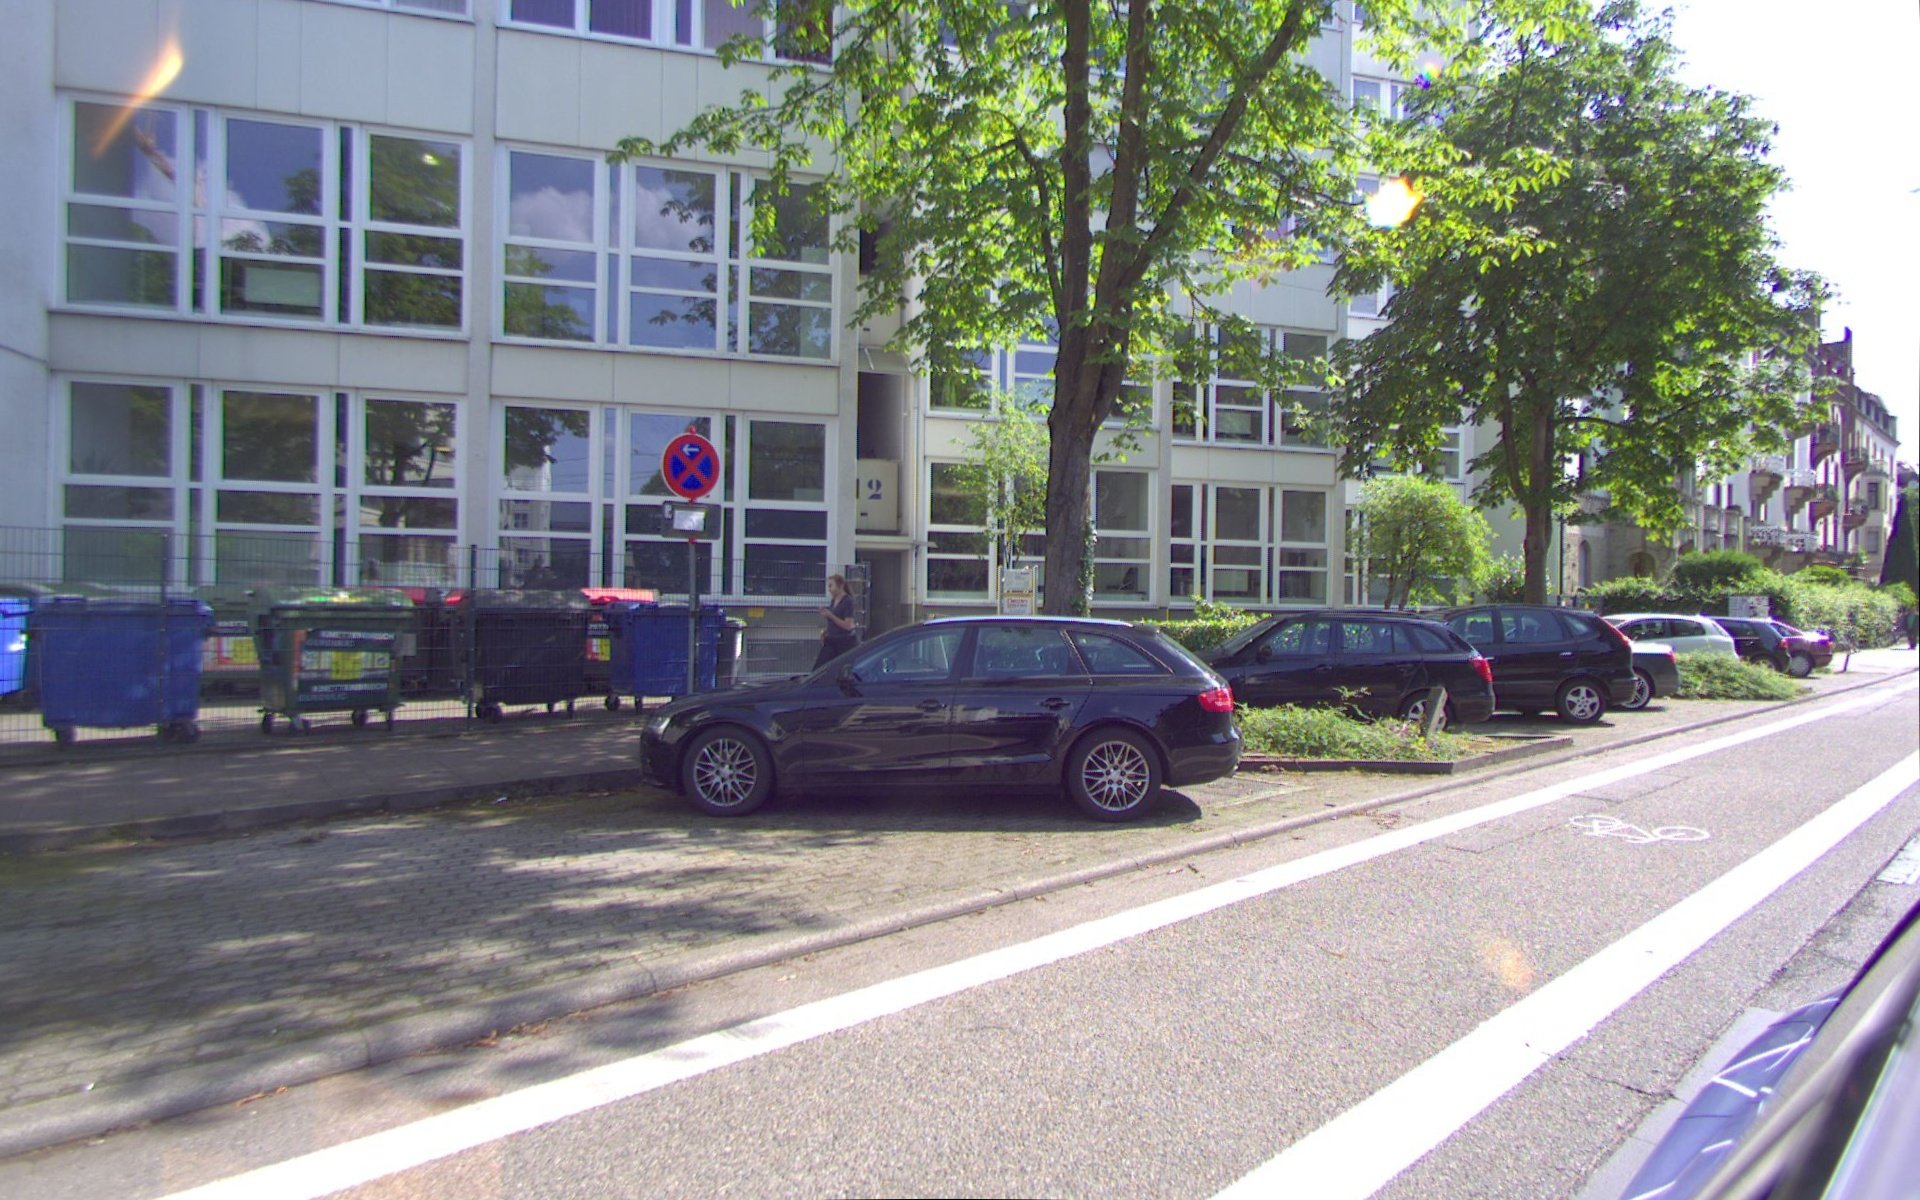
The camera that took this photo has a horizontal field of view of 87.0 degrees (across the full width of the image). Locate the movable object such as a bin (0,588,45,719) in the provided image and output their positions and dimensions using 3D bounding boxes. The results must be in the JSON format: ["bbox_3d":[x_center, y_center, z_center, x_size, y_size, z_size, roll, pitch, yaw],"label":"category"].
[{"bbox_3d":[-11.055,0.563,11.064,1.237,1.355,1.216,1,2,-25],"label":"movable object such as a bin"}]

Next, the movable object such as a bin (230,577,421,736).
[{"bbox_3d":[-6.402,0.547,10.230,1.274,1.456,1.331,-2,-3,42],"label":"movable object such as a bin"}]

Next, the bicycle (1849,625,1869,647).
[{"bbox_3d":[30.561,1.205,34.408,1.532,0.685,0.280,0,4,-41],"label":"bicycle"}]

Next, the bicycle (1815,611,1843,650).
[{"bbox_3d":[26.547,0.916,30.898,1.975,1.122,0.280,0,4,-41],"label":"bicycle"}]

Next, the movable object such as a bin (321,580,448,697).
[{"bbox_3d":[-7.756,0.492,13.733,1.237,1.465,1.383,1,2,-19],"label":"movable object such as a bin"}]

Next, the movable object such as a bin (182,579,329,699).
[{"bbox_3d":[-9.253,0.481,13.385,1.237,1.465,1.383,1,2,-19],"label":"movable object such as a bin"}]

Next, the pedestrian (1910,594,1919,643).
[{"bbox_3d":[37.363,0.740,39.132,0.787,1.884,0.571,4,2,43],"label":"pedestrian"}]

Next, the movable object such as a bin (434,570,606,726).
[{"bbox_3d":[-4.836,0.480,11.121,1.443,1.558,1.277,0,0,-40],"label":"movable object such as a bin"}]

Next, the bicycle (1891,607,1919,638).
[{"bbox_3d":[39.989,0.939,42.716,2.472,1.246,0.741,0,1,-41],"label":"bicycle"}]

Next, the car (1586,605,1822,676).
[{"bbox_3d":[16.698,0.879,22.877,3.932,1.467,1.696,1,0,8],"label":"car"}]

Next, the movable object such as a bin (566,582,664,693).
[{"bbox_3d":[-4.930,0.502,14.476,1.237,1.465,1.383,1,2,-19],"label":"movable object such as a bin"}]

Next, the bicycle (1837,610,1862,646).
[{"bbox_3d":[29.153,0.912,33.171,1.975,1.122,0.280,0,4,-41],"label":"bicycle"}]

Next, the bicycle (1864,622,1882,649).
[{"bbox_3d":[32.533,1.254,36.058,1.639,0.918,0.274,1,-1,-41],"label":"bicycle"}]

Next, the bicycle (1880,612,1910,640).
[{"bbox_3d":[35.803,0.976,38.732,1.839,1.001,0.613,0,3,-41],"label":"bicycle"}]

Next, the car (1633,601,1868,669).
[{"bbox_3d":[19.199,0.817,24.745,4.090,1.441,1.863,1,1,8],"label":"car"}]

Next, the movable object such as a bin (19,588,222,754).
[{"bbox_3d":[-7.566,0.584,9.152,1.335,1.353,1.276,0,-1,-42],"label":"movable object such as a bin"}]

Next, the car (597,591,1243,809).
[{"bbox_3d":[-0.271,0.707,7.971,4.455,1.460,2.029,-1,-1,5],"label":"car"}]

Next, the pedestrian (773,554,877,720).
[{"bbox_3d":[-1.624,0.420,12.160,0.983,1.897,0.763,1,0,-35],"label":"pedestrian"}]

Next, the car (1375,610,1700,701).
[{"bbox_3d":[9.174,0.860,16.401,4.102,1.366,1.902,0,-1,5],"label":"car"}]

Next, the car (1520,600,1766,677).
[{"bbox_3d":[14.005,0.753,20.911,3.929,1.479,1.534,1,0,5],"label":"car"}]

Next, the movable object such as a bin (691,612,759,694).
[{"bbox_3d":[-3.487,0.764,14.970,0.910,1.103,1.037,1,2,-15],"label":"movable object such as a bin"}]

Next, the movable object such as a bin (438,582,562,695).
[{"bbox_3d":[-6.313,0.501,13.994,1.422,1.474,1.212,0,0,-17],"label":"movable object such as a bin"}]

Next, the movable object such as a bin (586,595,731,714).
[{"bbox_3d":[-3.670,0.613,12.299,1.302,1.335,1.277,0,0,-40],"label":"movable object such as a bin"}]

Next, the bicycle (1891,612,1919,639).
[{"bbox_3d":[37.632,1.000,40.219,2.321,1.008,0.612,0,3,-41],"label":"bicycle"}]

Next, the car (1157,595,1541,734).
[{"bbox_3d":[4.527,0.736,12.297,4.004,1.462,1.723,1,-2,6],"label":"car"}]

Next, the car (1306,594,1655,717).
[{"bbox_3d":[7.152,0.735,14.322,3.933,1.595,1.900,0,-1,8],"label":"car"}]
